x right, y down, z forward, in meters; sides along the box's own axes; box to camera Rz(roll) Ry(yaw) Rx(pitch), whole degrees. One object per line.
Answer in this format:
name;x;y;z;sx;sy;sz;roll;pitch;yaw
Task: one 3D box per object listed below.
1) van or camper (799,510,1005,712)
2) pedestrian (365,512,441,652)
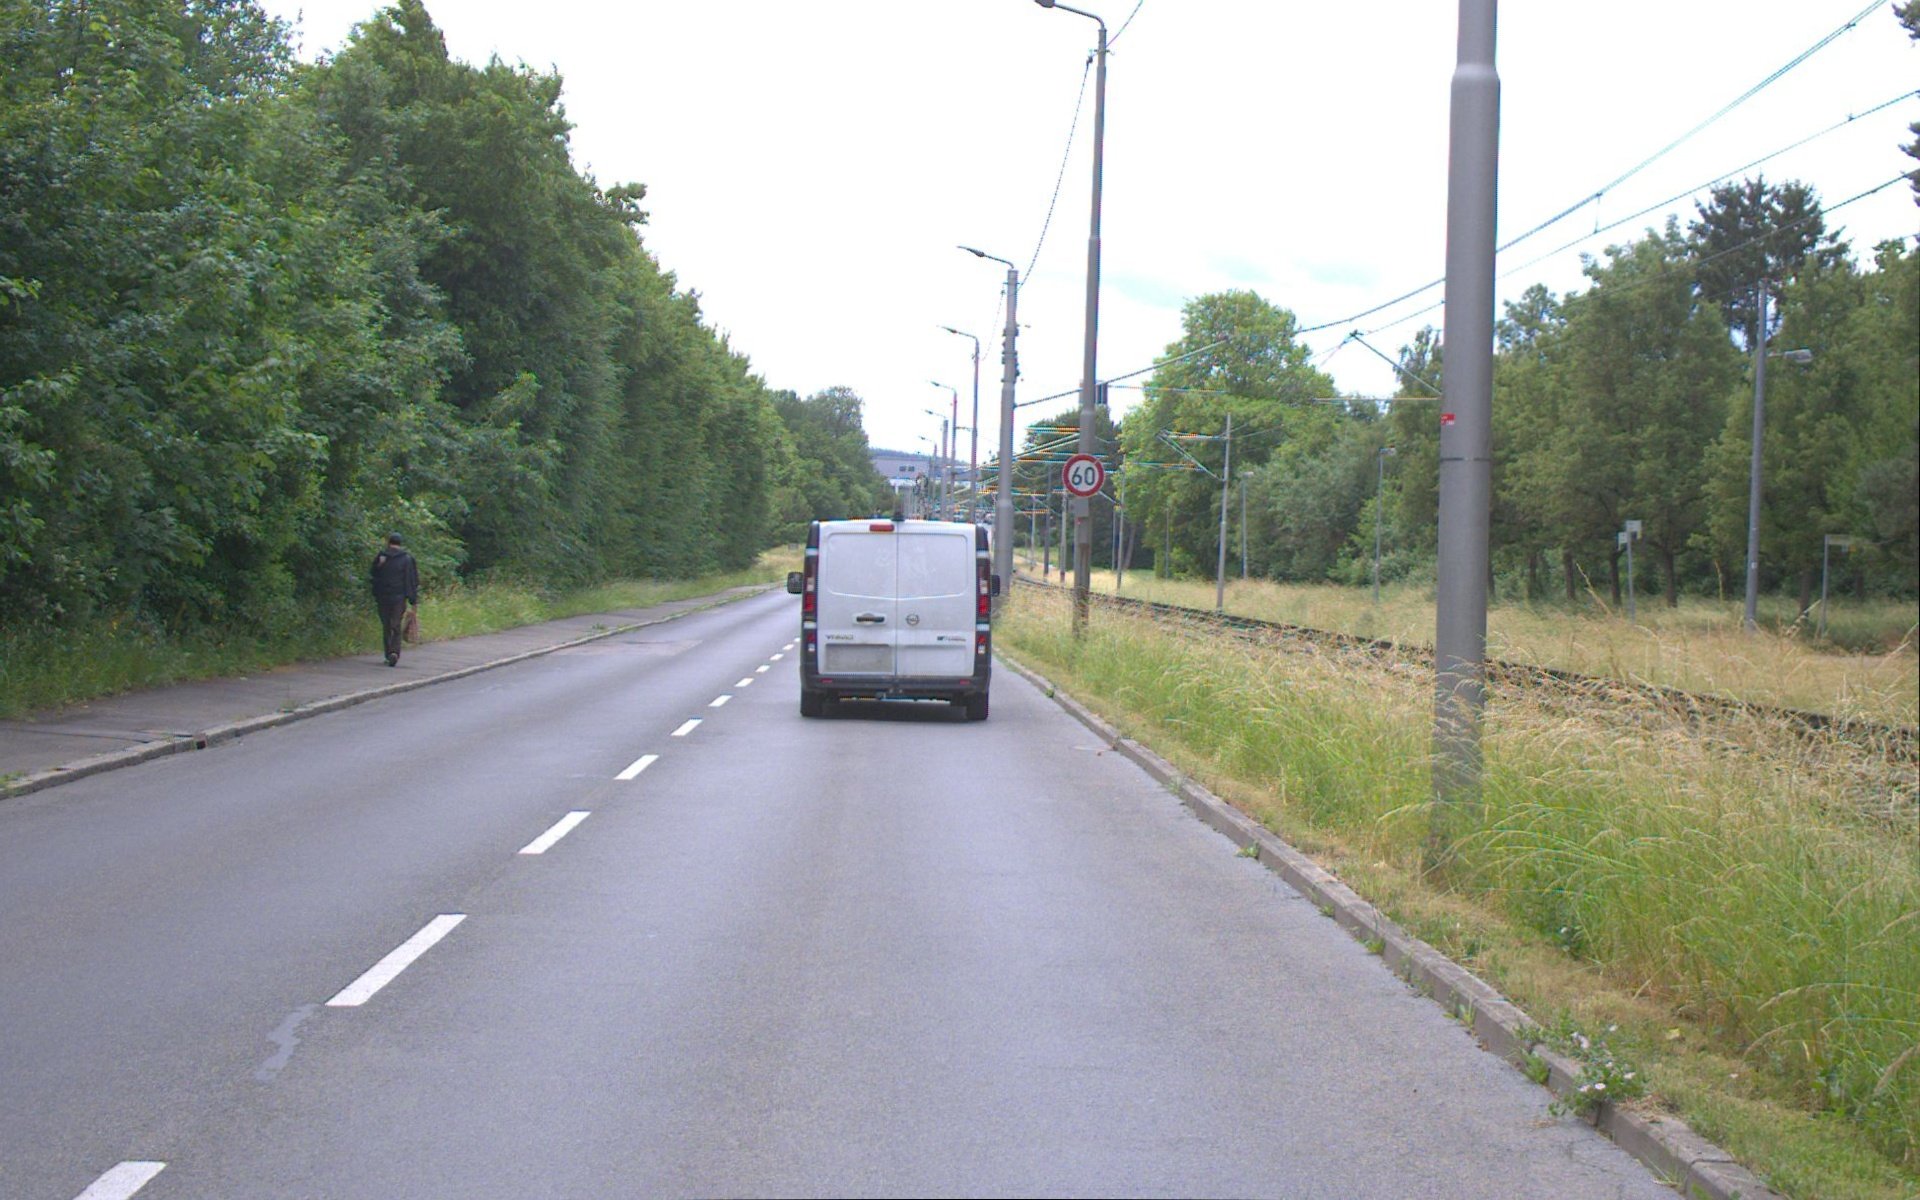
van or camper;-0.616;0.092;34.656;1.942;1.890;4.285;0;0;-2
pedestrian;-7.119;-0.235;43.973;0.867;1.763;0.789;-1;1;-4
